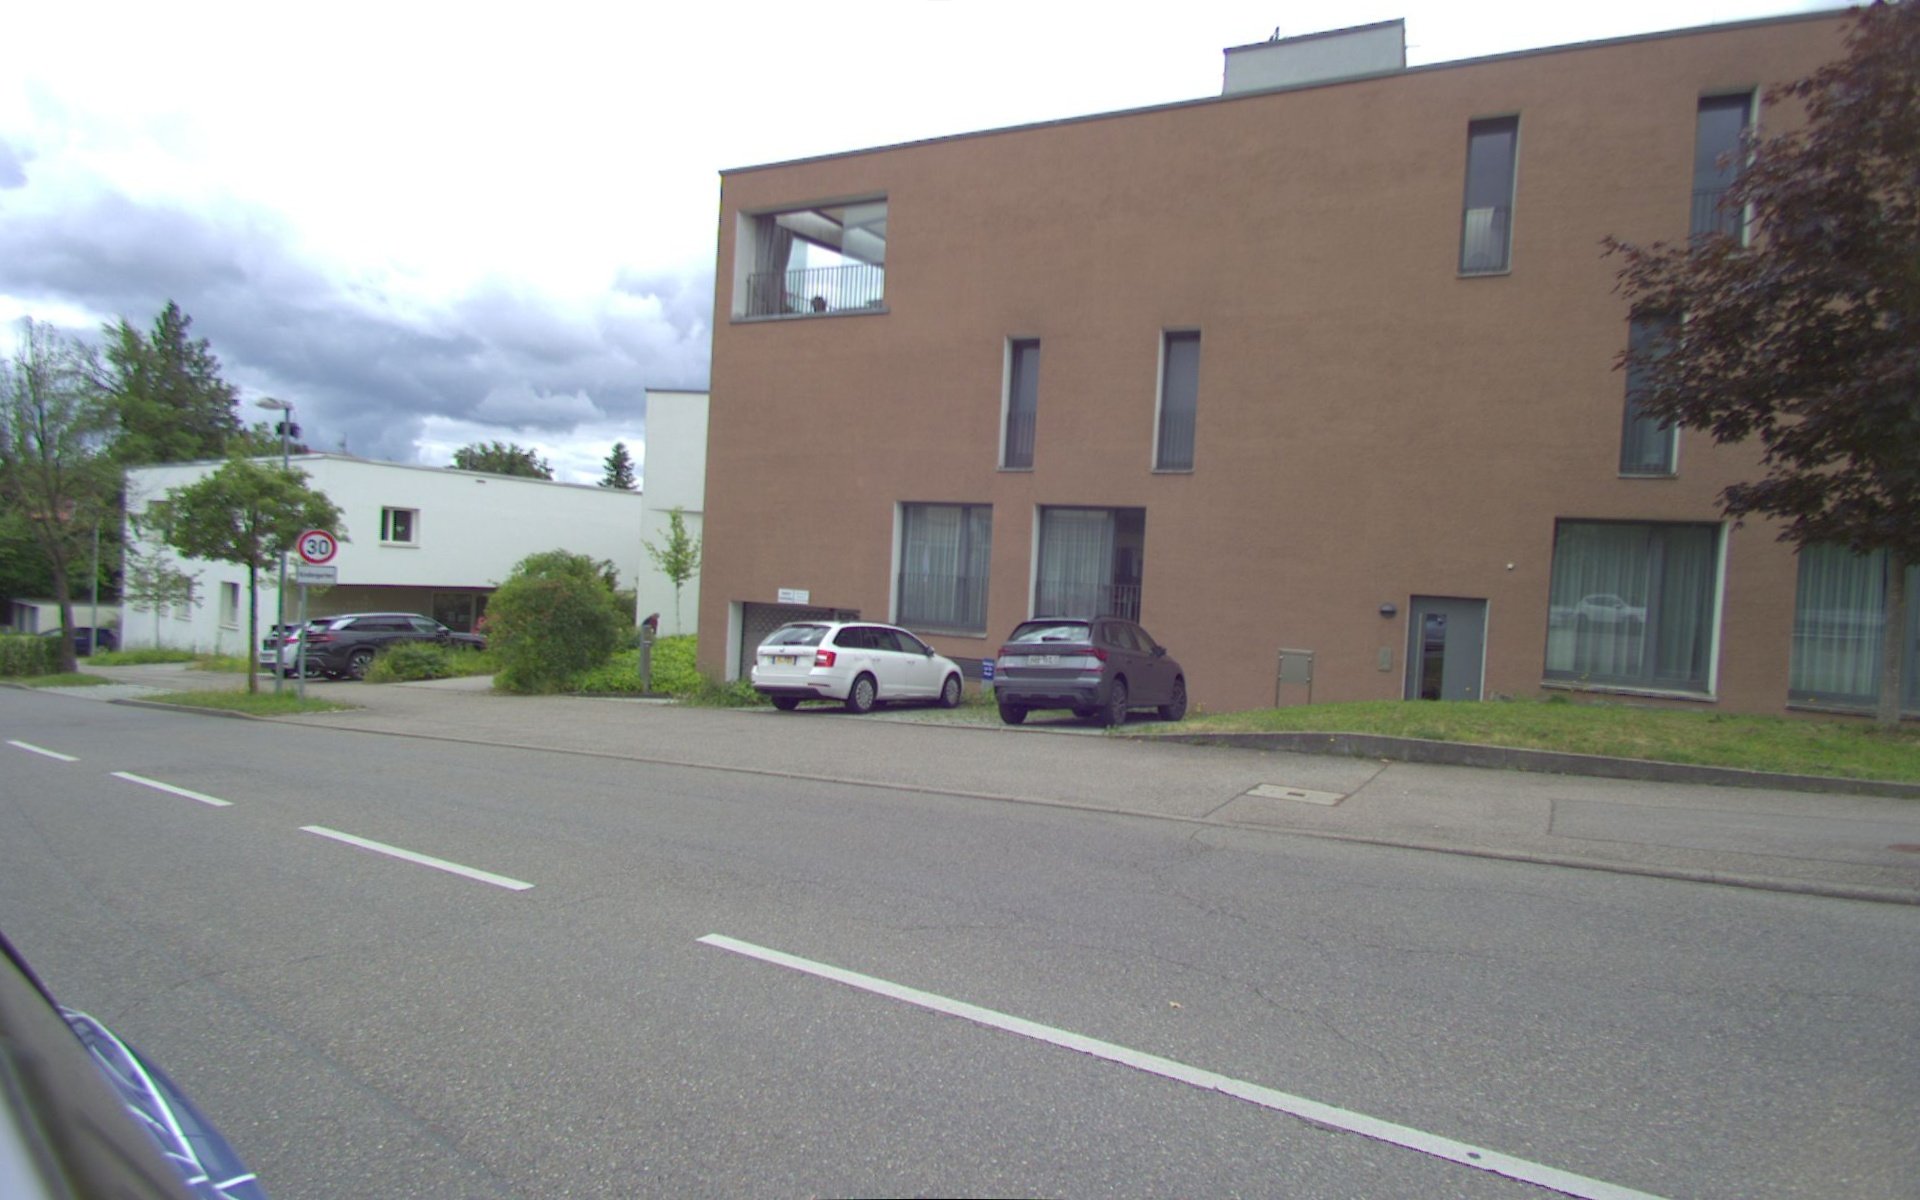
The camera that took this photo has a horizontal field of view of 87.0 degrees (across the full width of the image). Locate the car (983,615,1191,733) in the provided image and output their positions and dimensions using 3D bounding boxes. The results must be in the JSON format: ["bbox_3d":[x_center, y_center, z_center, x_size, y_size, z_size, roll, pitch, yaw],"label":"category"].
[{"bbox_3d":[1.965,1.055,14.759,1.725,1.475,3.733,-2,-4,30],"label":"car"}]

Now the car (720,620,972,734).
[{"bbox_3d":[-1.770,1.229,17.124,2.008,1.635,4.226,0,-2,33],"label":"car"}]

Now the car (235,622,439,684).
[{"bbox_3d":[-17.101,1.442,27.997,2.061,1.578,4.349,-2,-3,34],"label":"car"}]

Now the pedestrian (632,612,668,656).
[{"bbox_3d":[-9.250,1.018,30.239,0.898,1.293,0.601,-1,-1,36],"label":"pedestrian"}]

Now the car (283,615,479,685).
[{"bbox_3d":[-14.934,1.224,26.268,2.005,1.666,3.950,-1,-2,36],"label":"car"}]

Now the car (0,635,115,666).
[{"bbox_3d":[-42.182,2.328,47.315,1.735,1.364,3.767,-1,-2,30],"label":"car"}]
